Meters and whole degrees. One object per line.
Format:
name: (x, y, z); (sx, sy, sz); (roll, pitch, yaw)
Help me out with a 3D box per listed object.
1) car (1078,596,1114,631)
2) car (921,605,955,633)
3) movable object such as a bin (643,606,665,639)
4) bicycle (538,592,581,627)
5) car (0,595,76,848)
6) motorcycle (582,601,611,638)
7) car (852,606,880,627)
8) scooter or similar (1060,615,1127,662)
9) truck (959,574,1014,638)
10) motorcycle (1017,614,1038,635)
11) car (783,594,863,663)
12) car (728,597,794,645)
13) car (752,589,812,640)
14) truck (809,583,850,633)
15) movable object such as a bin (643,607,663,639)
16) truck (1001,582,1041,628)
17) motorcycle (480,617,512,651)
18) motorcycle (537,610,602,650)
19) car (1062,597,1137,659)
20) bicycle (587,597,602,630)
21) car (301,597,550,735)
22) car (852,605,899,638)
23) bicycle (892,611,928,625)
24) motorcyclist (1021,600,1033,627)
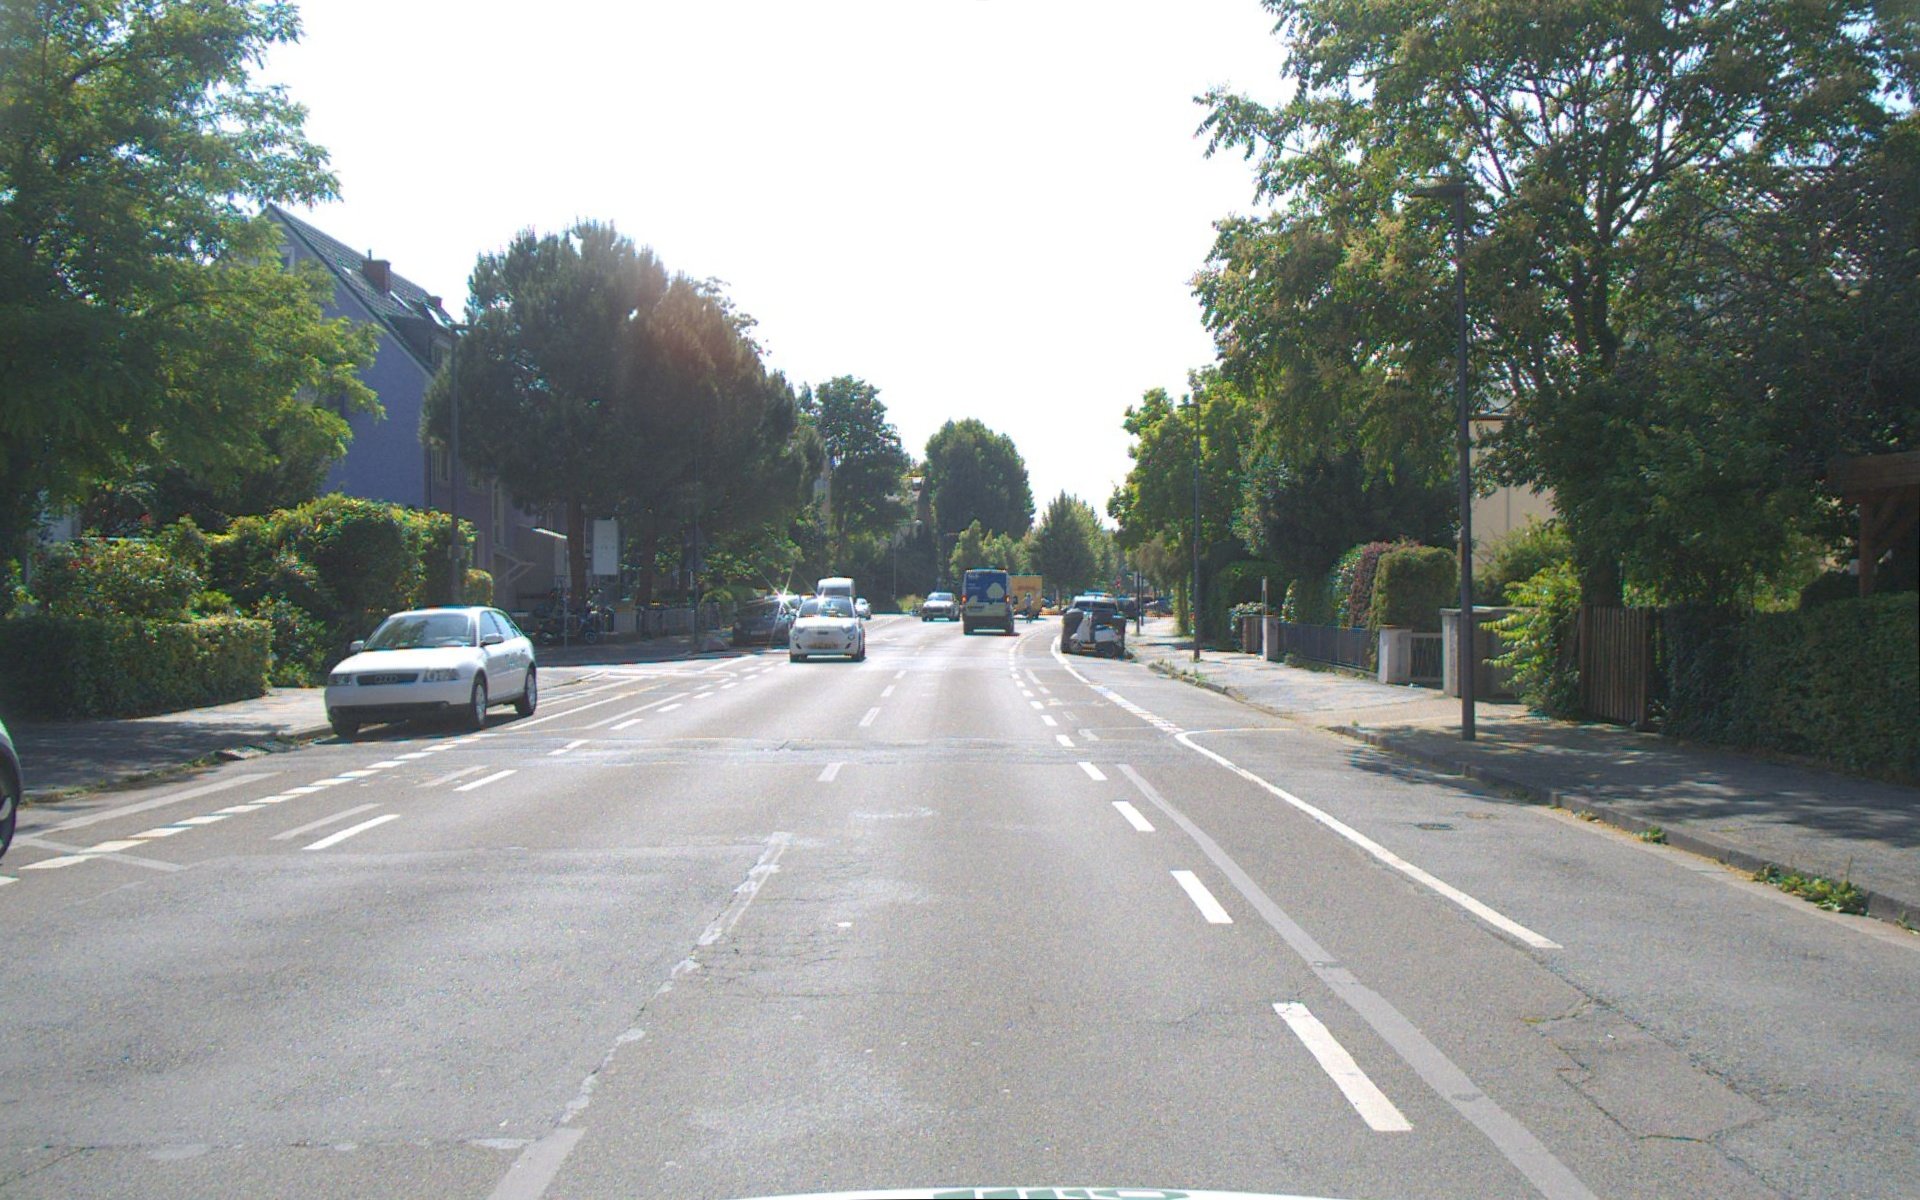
car: (6.794, 0.654, 82.992); (1.665, 1.706, 3.776); (0, 0, 3)
car: (-1.328, 1.161, 101.977); (1.952, 1.686, 4.605); (0, 0, 1)
movable object such as a bin: (-10.646, 0.777, 57.586); (0.592, 1.131, 0.663); (0, -1, 5)
bicycle: (-14.511, 0.340, 59.913); (1.432, 1.202, 0.531); (-1, 2, -39)
car: (-6.435, 0.702, 8.372); (1.748, 1.465, 4.000); (0, 0, 0)
motorcycle: (-12.244, 0.651, 55.694); (0.525, 1.202, 1.447); (0, -1, 5)
car: (-6.267, 1.116, 110.476); (1.719, 1.367, 3.652); (0, 0, -2)
scooter or similar: (3.679, 1.061, 45.717); (1.767, 1.174, 0.715); (4, 0, 45)
truck: (1.125, 0.276, 69.822); (2.225, 2.616, 4.392); (0, -1, 1)
motorcycle: (3.836, 1.387, 94.141); (1.035, 1.142, 2.992); (0, -1, 0)
car: (-3.286, 0.680, 40.283); (1.697, 1.568, 3.998); (-1, -1, -2)
car: (-6.561, 0.673, 54.770); (1.745, 1.485, 4.085); (-1, 0, -1)
car: (-6.493, 0.500, 60.684); (1.870, 1.706, 4.257); (-2, 1, -2)
truck: (-6.945, 0.407, 88.748); (2.039, 2.582, 5.464); (0, 0, -3)
movable object such as a bin: (-10.644, 0.794, 57.320); (0.532, 1.131, 0.585); (0, -1, 5)
truck: (4.105, 0.350, 111.820); (2.170, 2.998, 5.682); (0, -1, -3)
motorcycle: (-13.927, 1.005, 49.576); (0.632, 1.008, 2.339); (0, -1, -23)
motorcycle: (-11.835, 0.892, 50.131); (1.800, 1.202, 0.643); (0, -1, 5)
car: (4.155, 0.788, 48.570); (1.747, 1.667, 4.474); (2, 0, 10)
bicycle: (-13.496, 0.502, 61.118); (0.527, 1.202, 1.442); (0, -1, -11)
car: (-6.464, 0.730, 20.479); (1.749, 1.465, 4.000); (-3, 0, 0)
car: (-3.928, 0.988, 77.517); (1.796, 1.522, 3.655); (0, 0, 4)
bicycle: (-3.852, 1.401, 126.563); (2.638, 1.066, 1.024); (0, -1, -9)
motorcyclist: (3.833, 0.761, 94.040); (0.658, 1.545, 0.652); (0, -1, 0)
